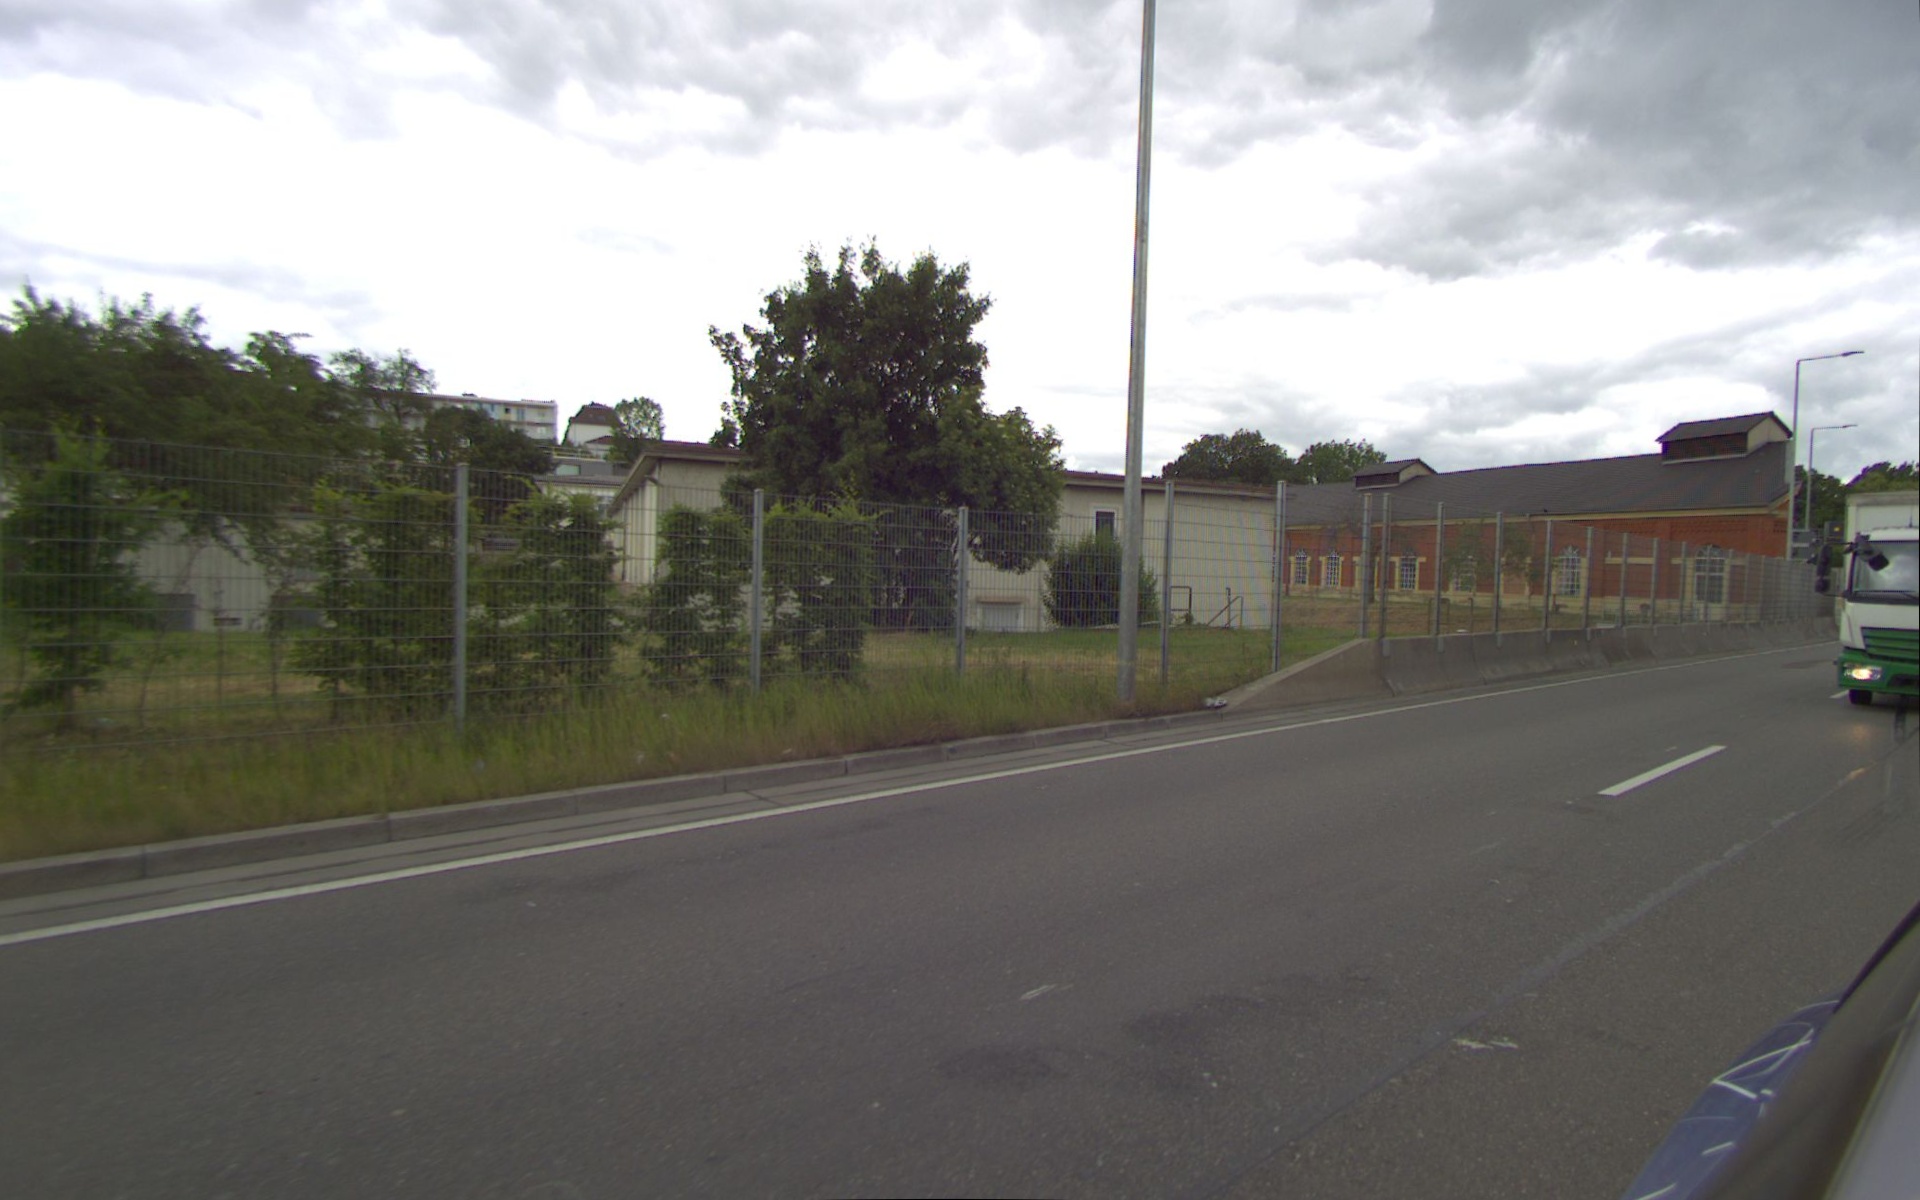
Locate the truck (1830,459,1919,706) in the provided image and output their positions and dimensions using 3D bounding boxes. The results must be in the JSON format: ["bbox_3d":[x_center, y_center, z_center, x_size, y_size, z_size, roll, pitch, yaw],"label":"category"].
[{"bbox_3d":[15.711,-0.233,15.593,7.289,3.280,2.633,0,-1,-42],"label":"truck"}]
